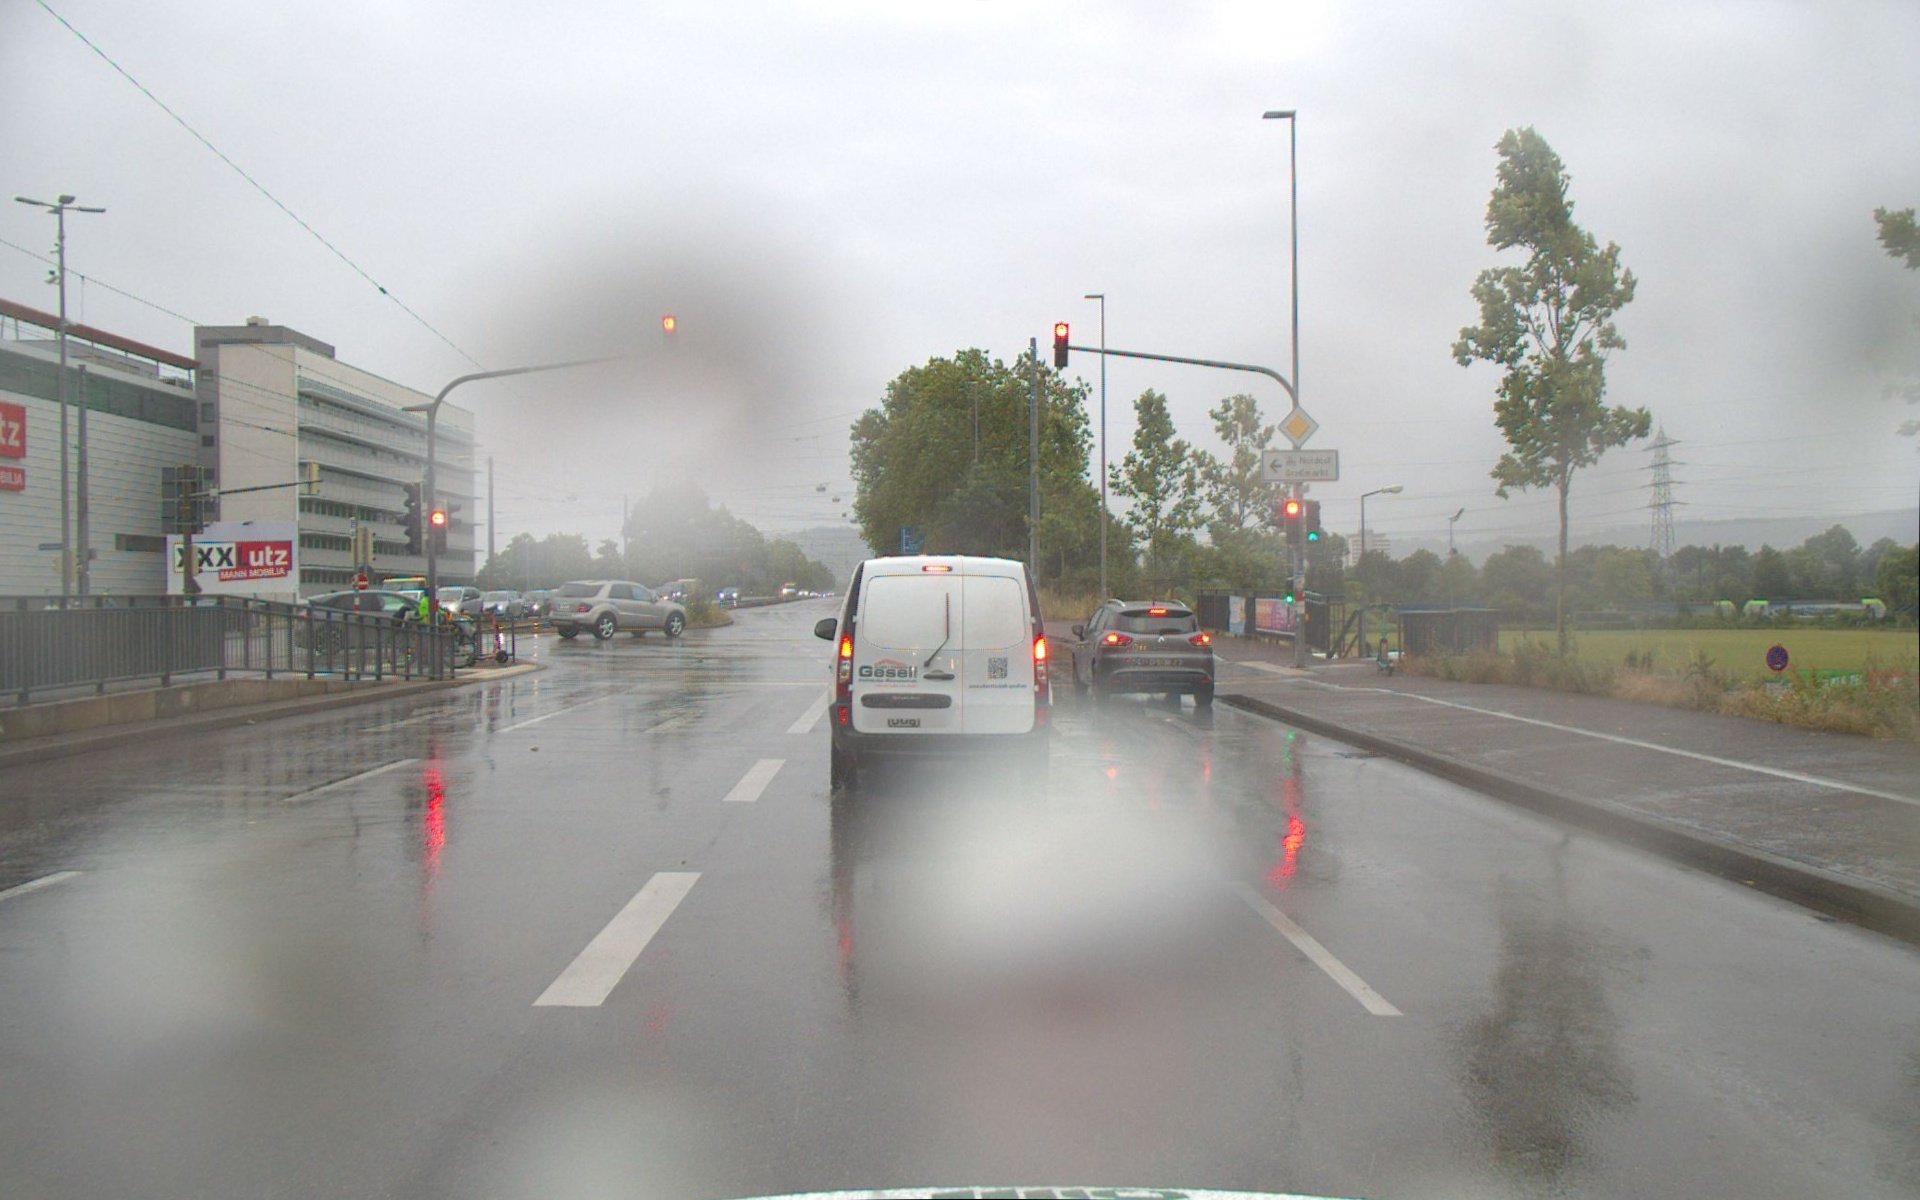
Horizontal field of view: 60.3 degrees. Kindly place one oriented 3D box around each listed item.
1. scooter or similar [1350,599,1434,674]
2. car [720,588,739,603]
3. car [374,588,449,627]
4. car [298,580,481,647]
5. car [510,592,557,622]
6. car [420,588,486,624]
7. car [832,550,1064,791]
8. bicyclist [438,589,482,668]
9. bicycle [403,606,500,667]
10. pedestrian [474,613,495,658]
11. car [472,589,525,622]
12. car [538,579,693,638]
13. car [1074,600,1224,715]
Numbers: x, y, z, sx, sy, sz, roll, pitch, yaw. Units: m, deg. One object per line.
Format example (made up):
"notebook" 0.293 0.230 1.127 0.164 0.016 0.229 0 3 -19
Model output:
"scooter or similar" 7.493 0.600 28.848 0.676 1.232 3.020 -1 0 0
"car" -23.685 -0.426 169.943 1.528 1.451 3.567 2 -1 -1
"car" -21.753 0.325 65.736 1.676 1.451 3.808 2 -1 -1
"car" -14.015 0.352 40.719 4.125 1.476 1.707 2 -2 -21
"car" -22.157 0.386 85.951 1.528 1.451 3.567 2 -1 -1
"car" -21.935 0.285 71.639 1.676 1.451 3.808 2 -1 -1
"car" -0.236 0.501 14.379 1.720 1.780 4.165 1 1 -4
"bicyclist" -9.743 0.556 32.219 0.600 1.517 0.591 1 -1 -41
"bicycle" -9.876 0.712 32.131 1.745 1.157 0.512 1 -1 -44
"pedestrian" -9.843 0.742 34.264 0.309 0.913 0.380 2 0 -3
"car" -21.993 0.293 78.873 1.528 1.451 3.567 2 -1 -1
"car" -10.675 0.283 51.450 1.918 1.691 4.438 0 -2 41
"car" 2.707 0.791 24.476 1.650 1.534 3.919 1 0 -2
